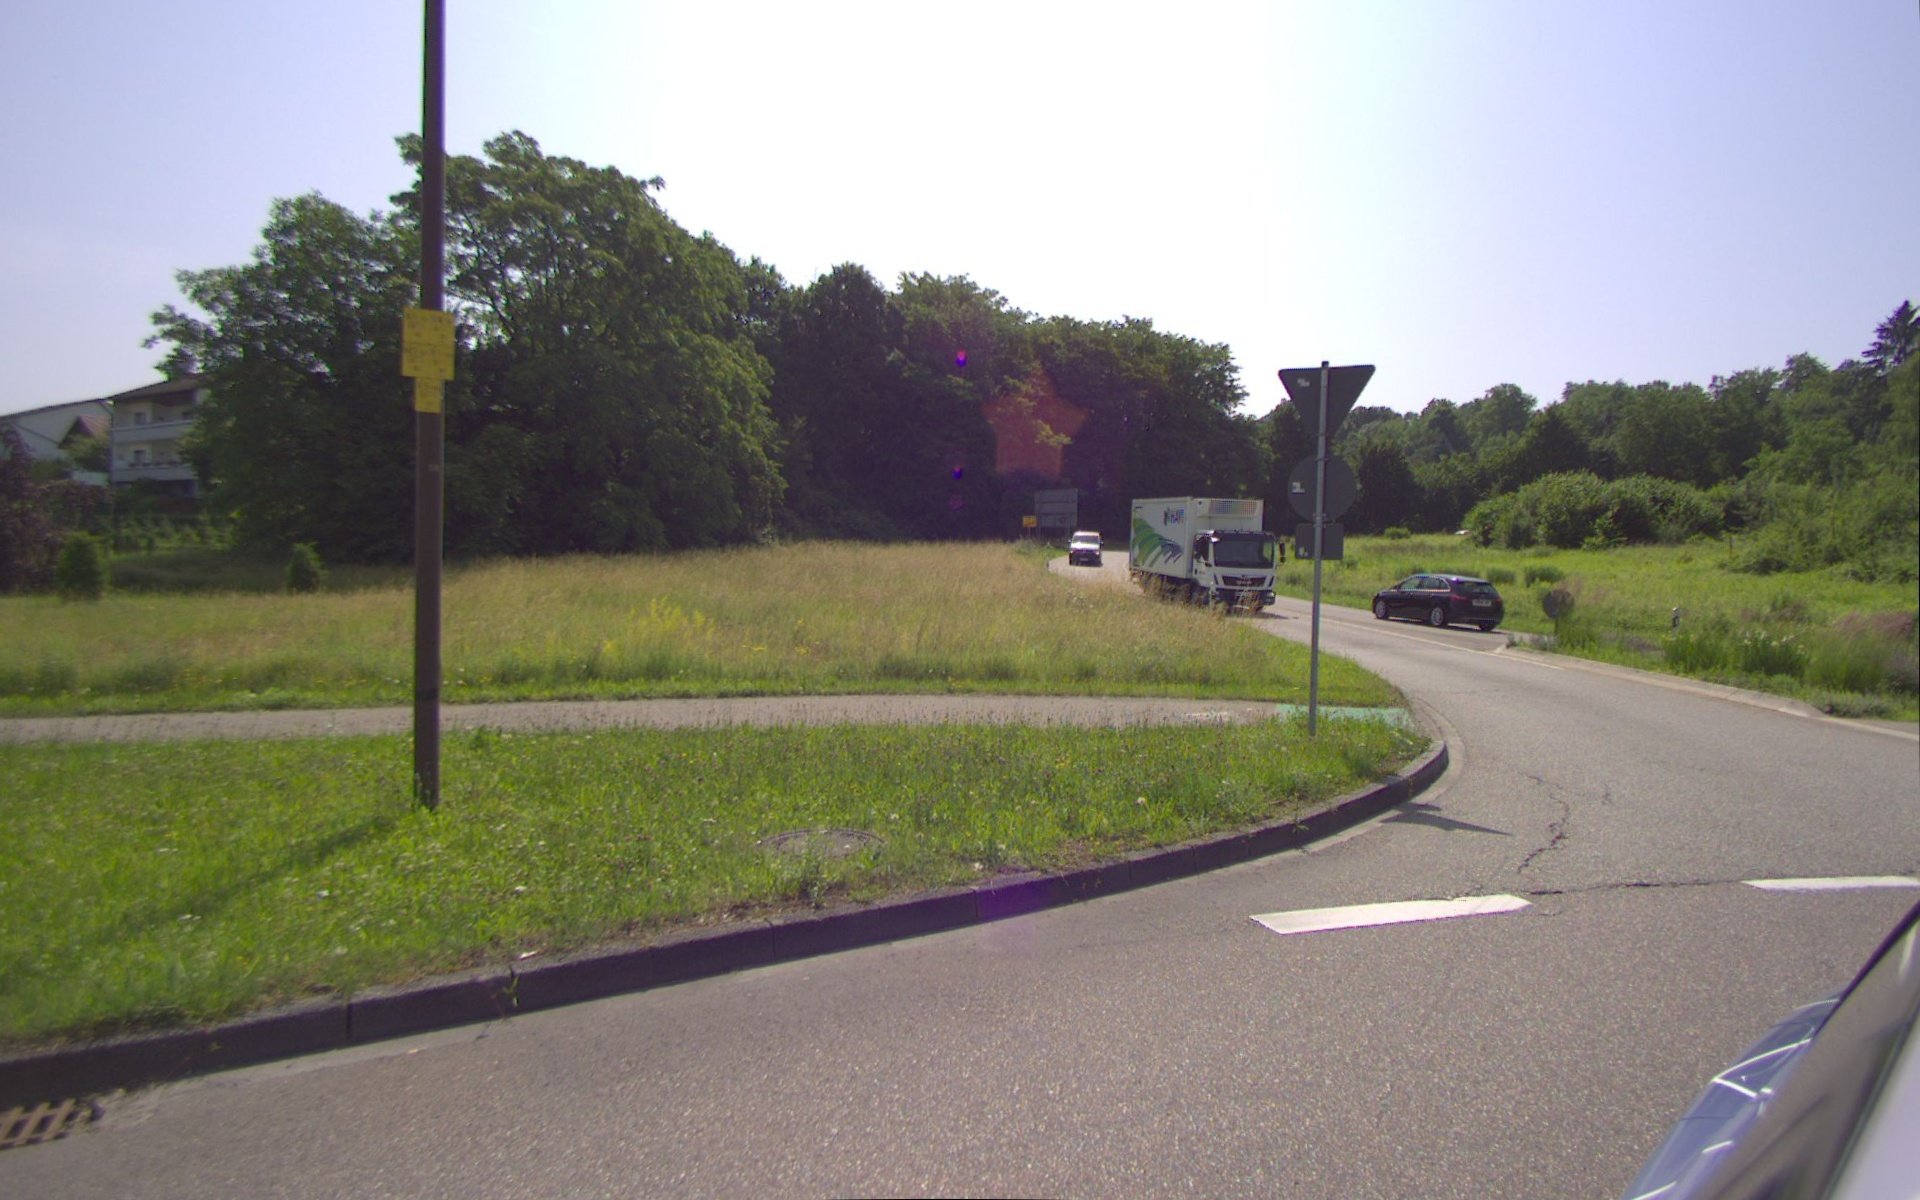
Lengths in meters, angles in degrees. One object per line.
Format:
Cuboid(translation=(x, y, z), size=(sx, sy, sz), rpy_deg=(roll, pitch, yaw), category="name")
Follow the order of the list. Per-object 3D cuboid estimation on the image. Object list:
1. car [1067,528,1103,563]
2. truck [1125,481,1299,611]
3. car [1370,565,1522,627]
Cuboid(translation=(7.647, -3.349, 62.148), size=(1.965, 2.038, 5.598), rpy_deg=(0, 3, 5), category="car")
Cuboid(translation=(8.265, -1.835, 34.734), size=(2.842, 3.875, 9.038), rpy_deg=(-1, 3, -6), category="truck")
Cuboid(translation=(14.072, -0.167, 29.620), size=(1.721, 1.548, 4.223), rpy_deg=(3, 2, -12), category="car")
